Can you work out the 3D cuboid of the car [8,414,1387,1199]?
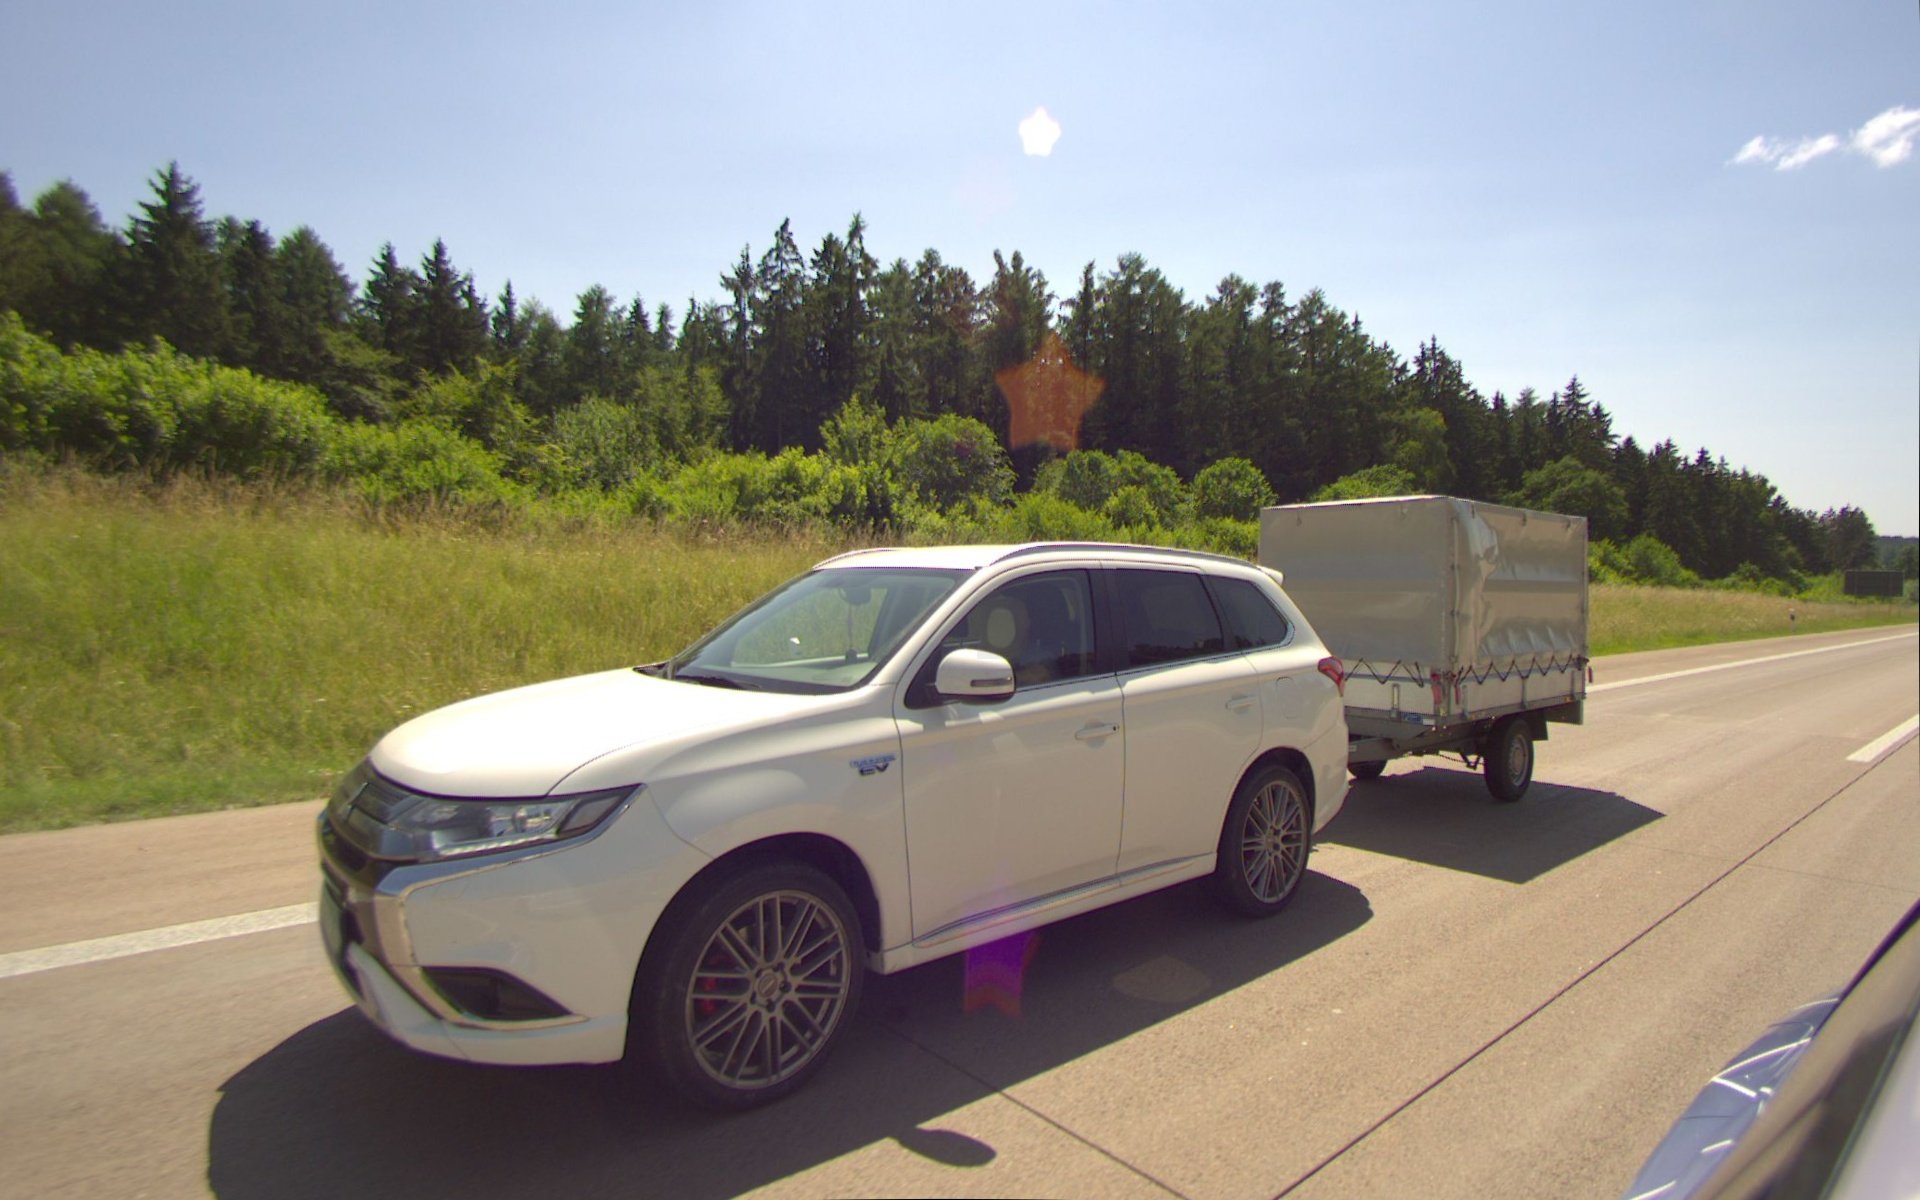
[{"bbox_3d":[-0.371,0.509,4.192,5.095,1.750,1.894,-1,1,-41],"label":"car"}]

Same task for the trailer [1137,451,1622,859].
[{"bbox_3d":[3.210,0.292,7.362,3.945,2.191,1.660,1,0,-41],"label":"trailer"}]
